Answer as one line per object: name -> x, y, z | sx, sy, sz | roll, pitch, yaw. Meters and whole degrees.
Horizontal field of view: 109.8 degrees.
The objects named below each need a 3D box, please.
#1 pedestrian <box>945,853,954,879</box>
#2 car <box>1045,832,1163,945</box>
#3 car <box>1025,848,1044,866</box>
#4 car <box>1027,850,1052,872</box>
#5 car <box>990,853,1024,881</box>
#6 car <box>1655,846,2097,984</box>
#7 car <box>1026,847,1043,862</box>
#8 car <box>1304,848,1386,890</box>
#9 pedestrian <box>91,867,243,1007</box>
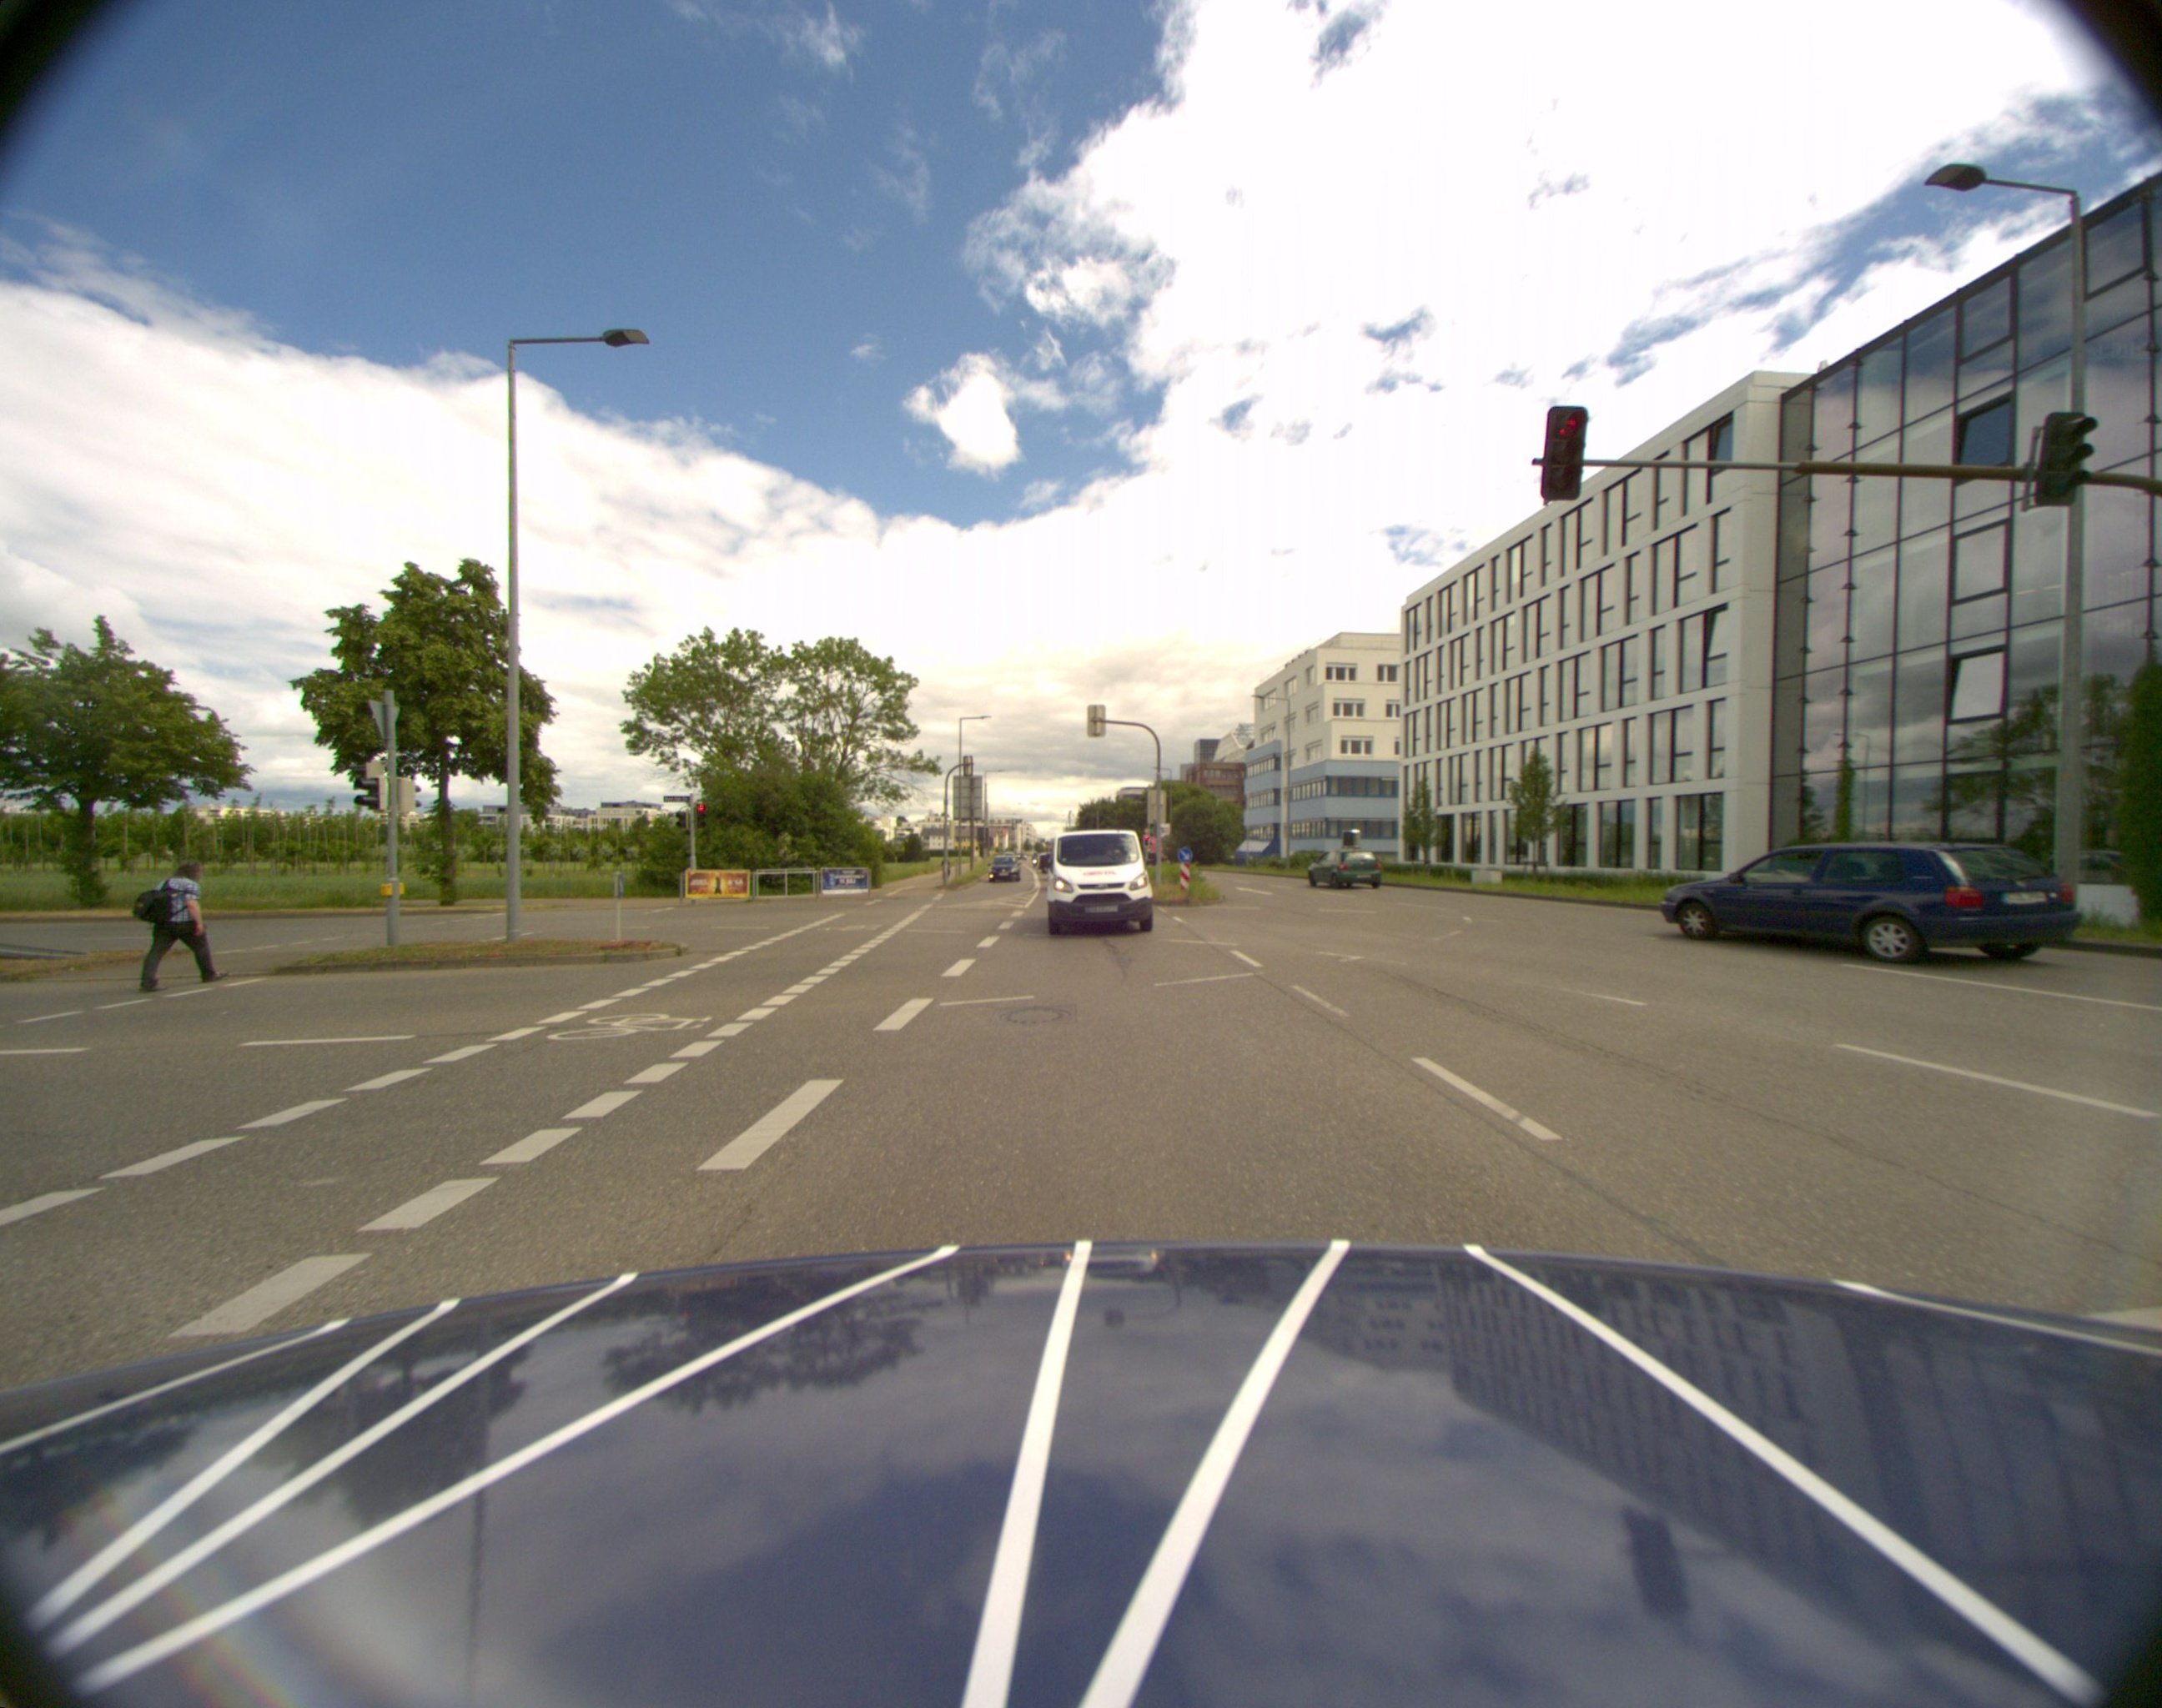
pedestrian -> -9.000, 0.816, 52.142 | 0.492, 1.693, 0.625 | -2, 2, -6
car -> 0.290, 0.590, 16.000 | 1.968, 1.938, 5.052 | -1, 1, -4
car -> -4.356, 0.244, 70.844 | 1.628, 1.528, 3.428 | -2, 1, -6
car -> -3.135, 0.480, 56.413 | 1.653, 1.528, 3.428 | -2, 1, -6
car -> -4.074, 0.708, 42.401 | 1.683, 1.410, 3.738 | -1, 1, -3
car -> 9.959, 0.645, 10.034 | 1.558, 1.411, 3.893 | -2, 0, -6
car -> -4.948, 0.032, 80.828 | 1.628, 1.528, 3.428 | -2, 1, -6
car -> 9.803, 0.503, 28.504 | 1.610, 1.424, 3.751 | -2, 0, -2
pedestrian -> -12.625, 1.107, 10.544 | 0.720, 1.782, 1.043 | -2, 2, 0
